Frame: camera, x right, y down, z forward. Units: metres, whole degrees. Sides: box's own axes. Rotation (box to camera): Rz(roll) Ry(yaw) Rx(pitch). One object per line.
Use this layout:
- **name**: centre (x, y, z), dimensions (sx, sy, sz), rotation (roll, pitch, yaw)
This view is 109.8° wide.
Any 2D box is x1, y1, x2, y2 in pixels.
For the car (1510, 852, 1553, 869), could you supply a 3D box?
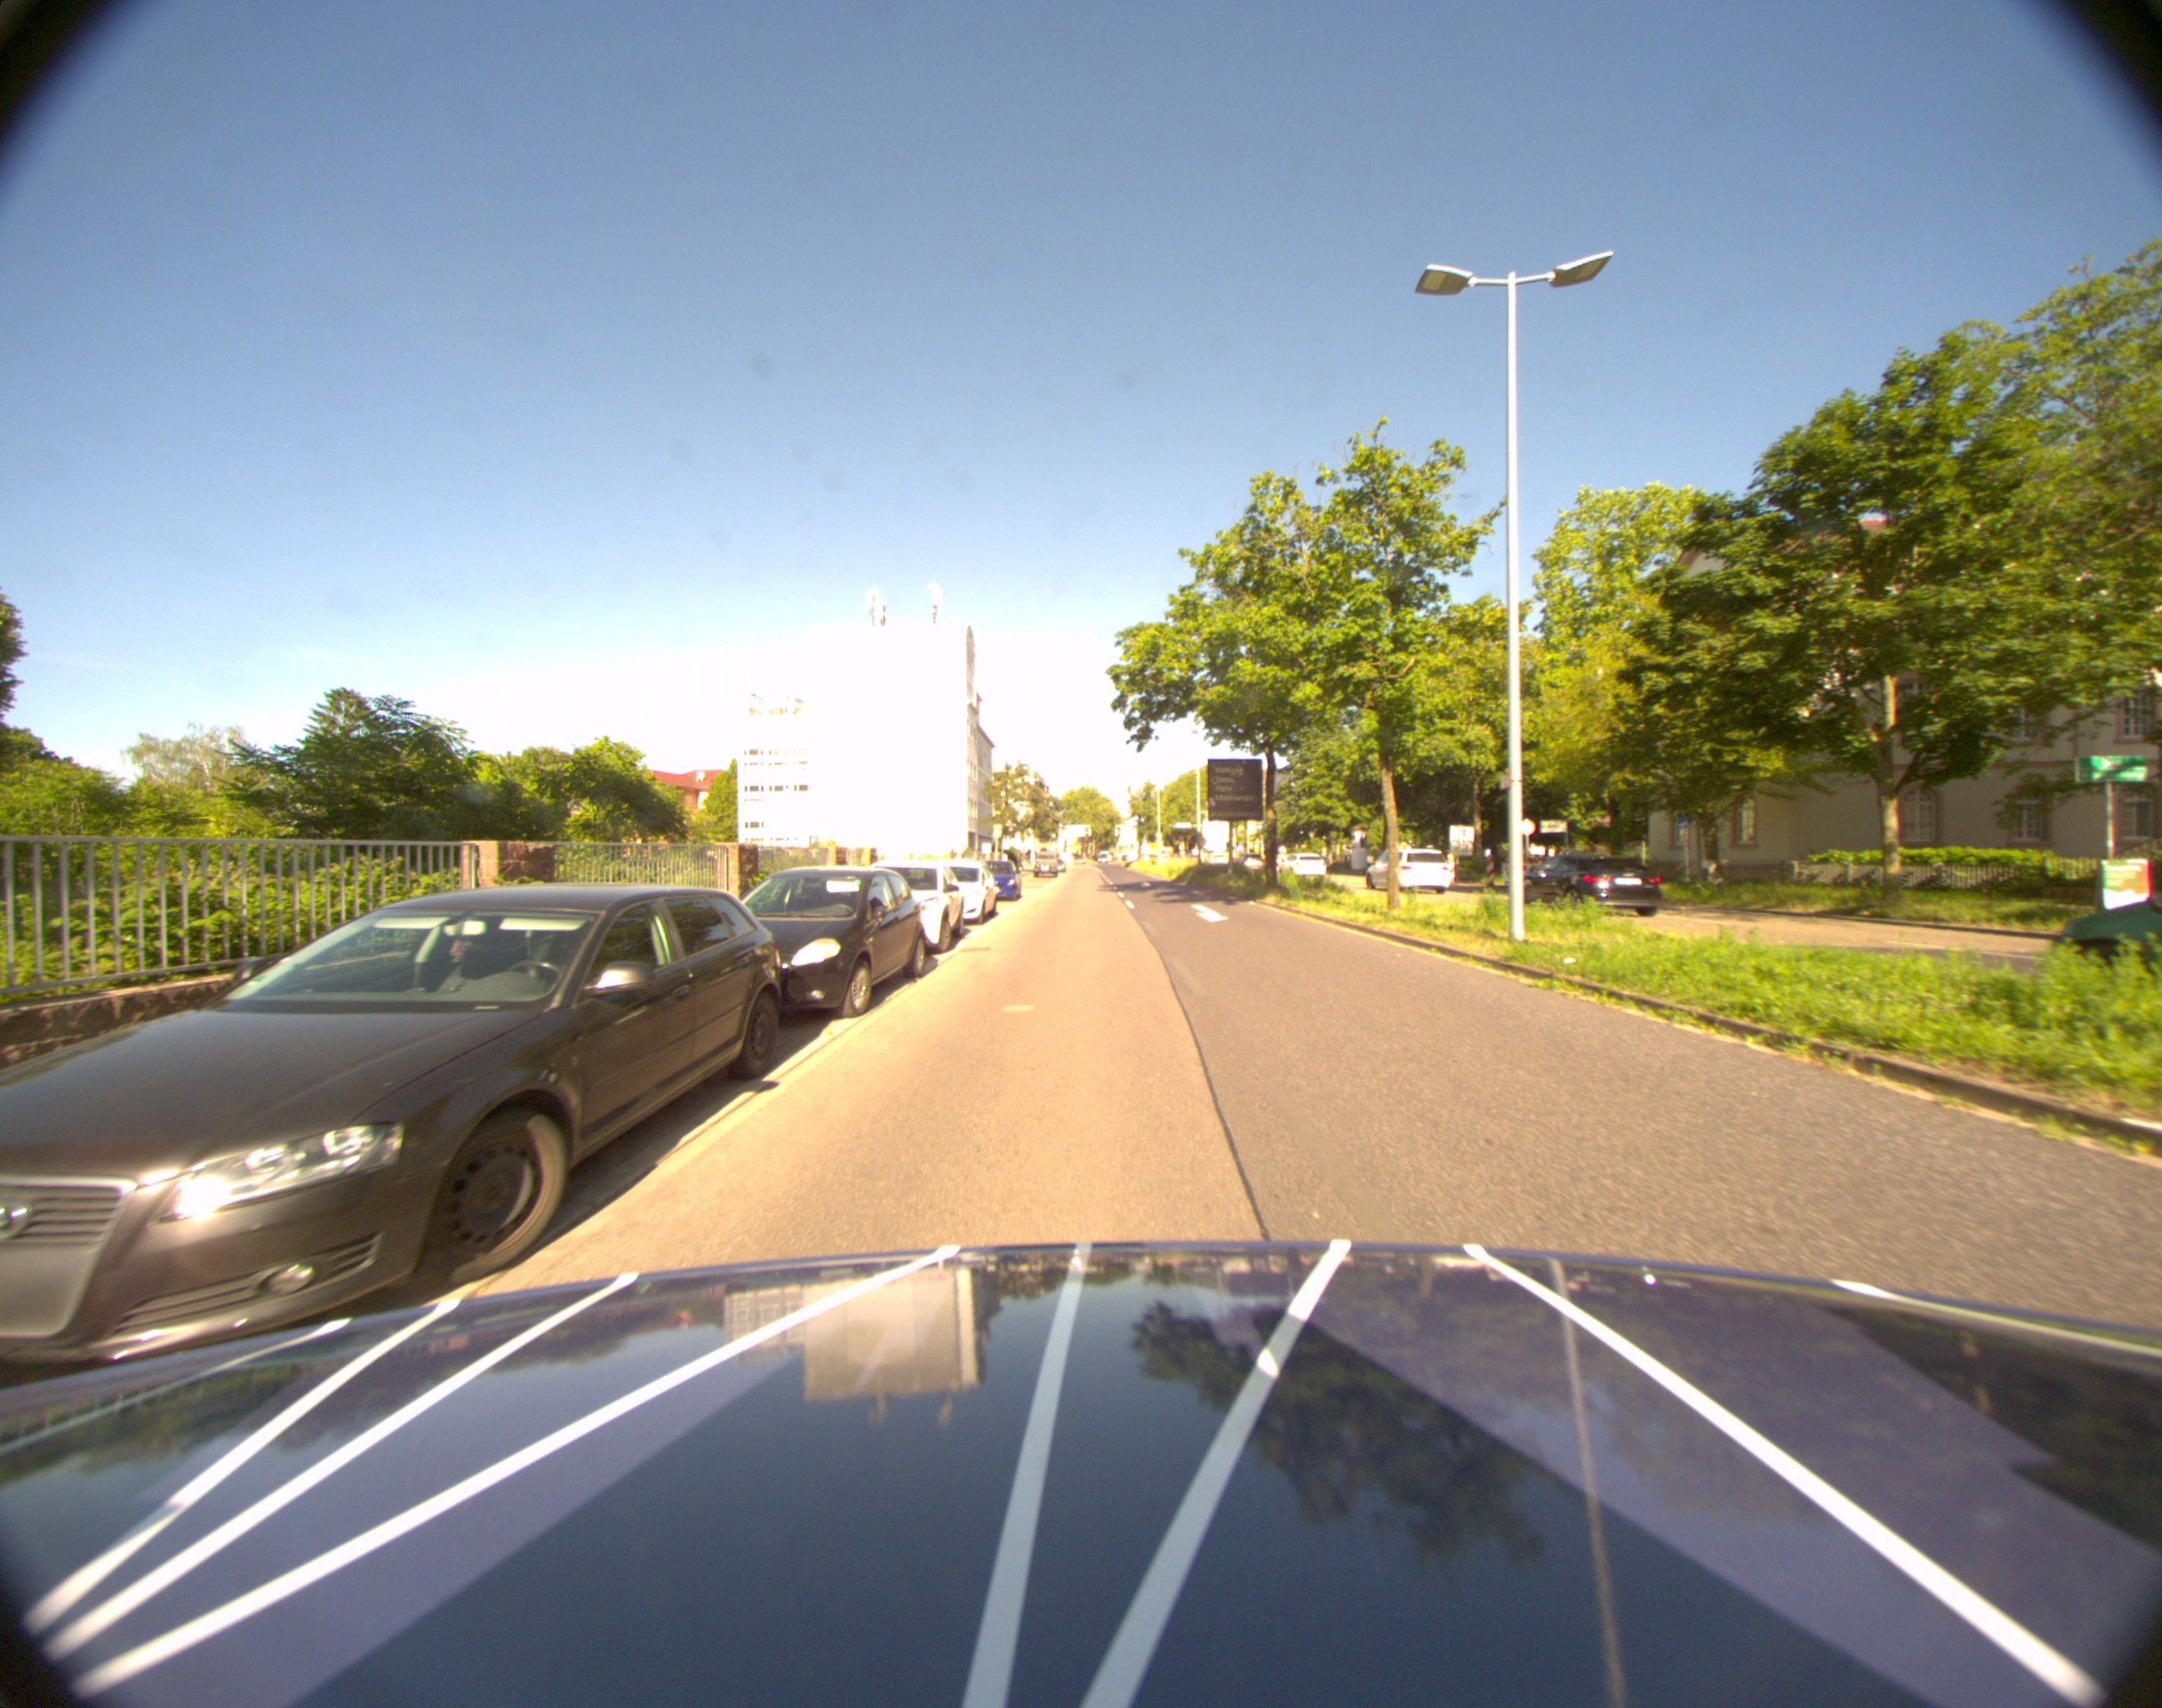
- **car**: centre (35.159, 0.503, 59.394), dimensions (1.769, 1.316, 3.504), rotation (0, 0, 11)

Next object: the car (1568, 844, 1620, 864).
- **car**: centre (46.616, -0.050, 69.192), dimensions (1.646, 1.484, 4.682), rotation (-2, 4, 1)

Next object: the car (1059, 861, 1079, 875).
- **car**: centre (-1.204, 1.492, 79.878), dimensions (1.641, 1.439, 4.158), rotation (-1, -1, 5)

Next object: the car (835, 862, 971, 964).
- **car**: centre (-3.010, 0.930, 13.579), dimensions (1.672, 1.510, 3.660), rotation (0, 0, -2)

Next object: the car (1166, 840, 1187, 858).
- **car**: centre (10.055, -0.575, 80.096), dimensions (1.757, 1.609, 4.321), rotation (-2, 3, 1)

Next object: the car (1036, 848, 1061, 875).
- **car**: centre (-2.526, 0.557, 59.076), dimensions (1.664, 2.002, 4.775), rotation (0, 1, 1)

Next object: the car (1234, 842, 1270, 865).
- **car**: centre (13.054, -0.079, 58.131), dimensions (1.800, 1.510, 4.257), rotation (-2, 2, 1)

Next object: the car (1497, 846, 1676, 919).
- **car**: centre (12.020, 0.584, 18.432), dimensions (1.799, 1.510, 4.087), rotation (1, 1, 4)

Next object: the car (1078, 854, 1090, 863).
- **car**: centre (0.556, 0.901, 156.210), dimensions (1.882, 1.511, 4.000), rotation (-2, 3, 8)

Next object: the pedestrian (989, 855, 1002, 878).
- **pedestrian**: centre (-5.982, 0.857, 53.234), dimensions (0.745, 1.574, 0.897), rotation (-2, 1, 1)

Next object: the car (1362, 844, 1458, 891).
- **car**: centre (12.220, 0.446, 28.600), dimensions (1.905, 1.616, 4.538), rotation (0, 1, 4)

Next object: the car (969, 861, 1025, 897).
- **car**: centre (-3.097, 0.895, 28.651), dimensions (1.672, 1.176, 3.900), rotation (2, 0, -1)

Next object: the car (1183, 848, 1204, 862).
- **car**: centre (13.155, 0.095, 88.767), dimensions (1.800, 1.510, 4.444), rotation (-1, 1, 0)

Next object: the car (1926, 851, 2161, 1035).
- **car**: centre (9.789, 0.741, 5.937), dimensions (1.642, 1.510, 4.258), rotation (-1, 0, 0)

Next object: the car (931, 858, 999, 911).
- **car**: centre (-3.609, 0.912, 24.223), dimensions (1.672, 1.451, 3.985), rotation (2, 0, -3)

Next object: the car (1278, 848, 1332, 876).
- **car**: centre (12.769, 0.421, 43.636), dimensions (1.843, 1.510, 4.666), rotation (-1, 0, 2)

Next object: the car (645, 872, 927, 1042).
- **car**: centre (-2.963, 0.947, 8.536), dimensions (1.672, 1.385, 3.775), rotation (0, 0, 0)

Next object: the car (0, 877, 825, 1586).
- **car**: centre (-3.080, 0.951, 3.998), dimensions (1.940, 1.510, 4.483), rotation (0, 0, 0)

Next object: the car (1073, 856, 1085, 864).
- **car**: centre (-0.389, 1.154, 147.710), dimensions (1.882, 1.510, 4.002), rotation (-2, 1, 8)

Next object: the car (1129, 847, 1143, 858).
- **car**: centre (10.111, -0.332, 140.997), dimensions (2.239, 2.016, 5.016), rotation (-1, 1, 0)

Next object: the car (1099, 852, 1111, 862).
- **car**: centre (4.776, 0.594, 149.836), dimensions (1.882, 1.511, 4.000), rotation (-2, 3, 8)

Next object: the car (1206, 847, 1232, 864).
- **car**: centre (13.371, 0.134, 73.766), dimensions (1.800, 1.510, 4.258), rotation (-1, 0, 0)

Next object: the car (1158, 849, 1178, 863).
- **car**: centre (9.903, 0.203, 86.878), dimensions (1.800, 1.510, 4.205), rotation (-1, 0, 0)

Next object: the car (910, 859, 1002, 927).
- **car**: centre (-2.986, 0.880, 18.816), dimensions (1.612, 1.437, 3.658), rotation (2, 0, 0)
